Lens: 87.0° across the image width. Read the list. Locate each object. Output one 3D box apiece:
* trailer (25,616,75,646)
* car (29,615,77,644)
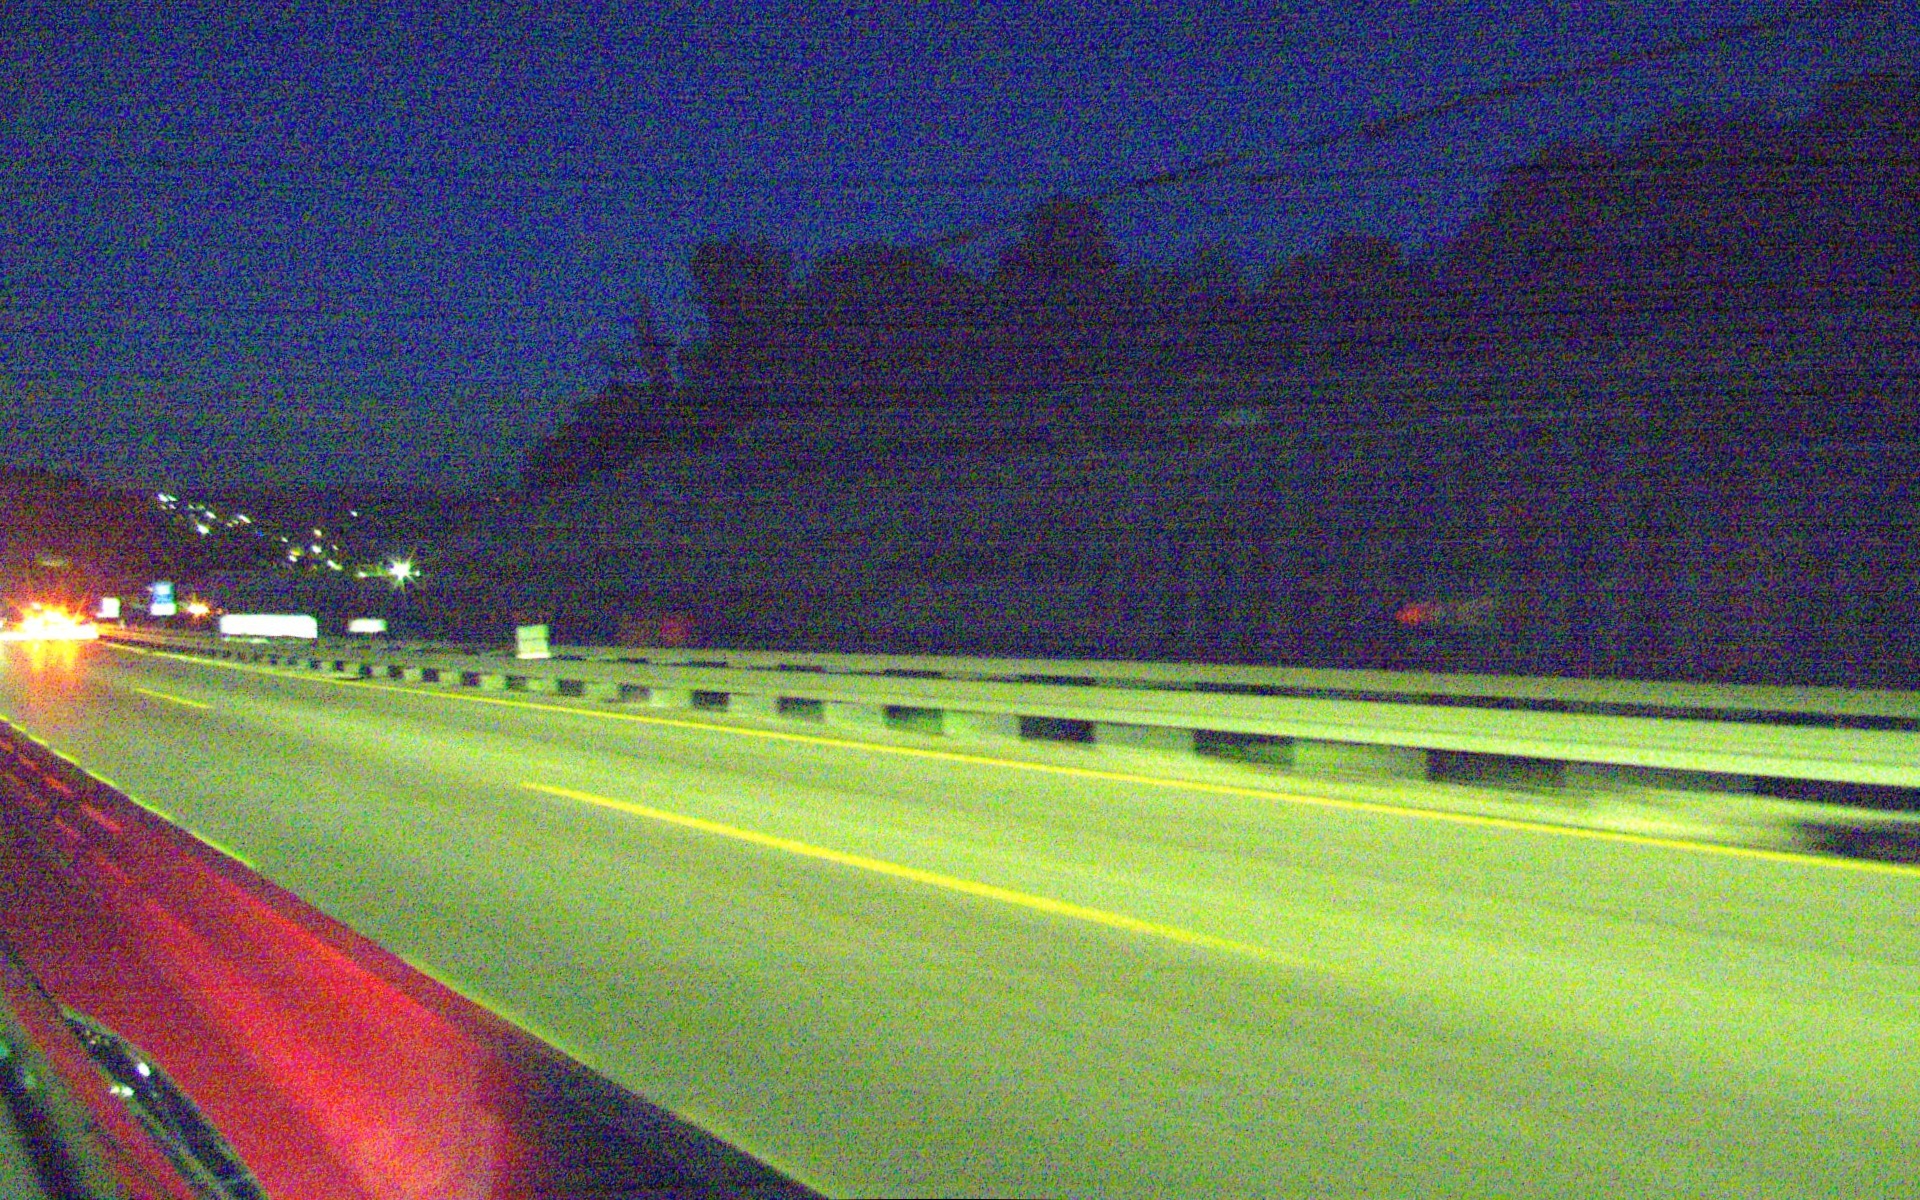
[{"bbox_3d":[-52.727,1.771,58.694,1.988,1.652,3.423,1,-1,-40],"label":"trailer"},{"bbox_3d":[-55.380,1.773,61.878,1.988,1.652,4.871,1,0,-40],"label":"car"}]
